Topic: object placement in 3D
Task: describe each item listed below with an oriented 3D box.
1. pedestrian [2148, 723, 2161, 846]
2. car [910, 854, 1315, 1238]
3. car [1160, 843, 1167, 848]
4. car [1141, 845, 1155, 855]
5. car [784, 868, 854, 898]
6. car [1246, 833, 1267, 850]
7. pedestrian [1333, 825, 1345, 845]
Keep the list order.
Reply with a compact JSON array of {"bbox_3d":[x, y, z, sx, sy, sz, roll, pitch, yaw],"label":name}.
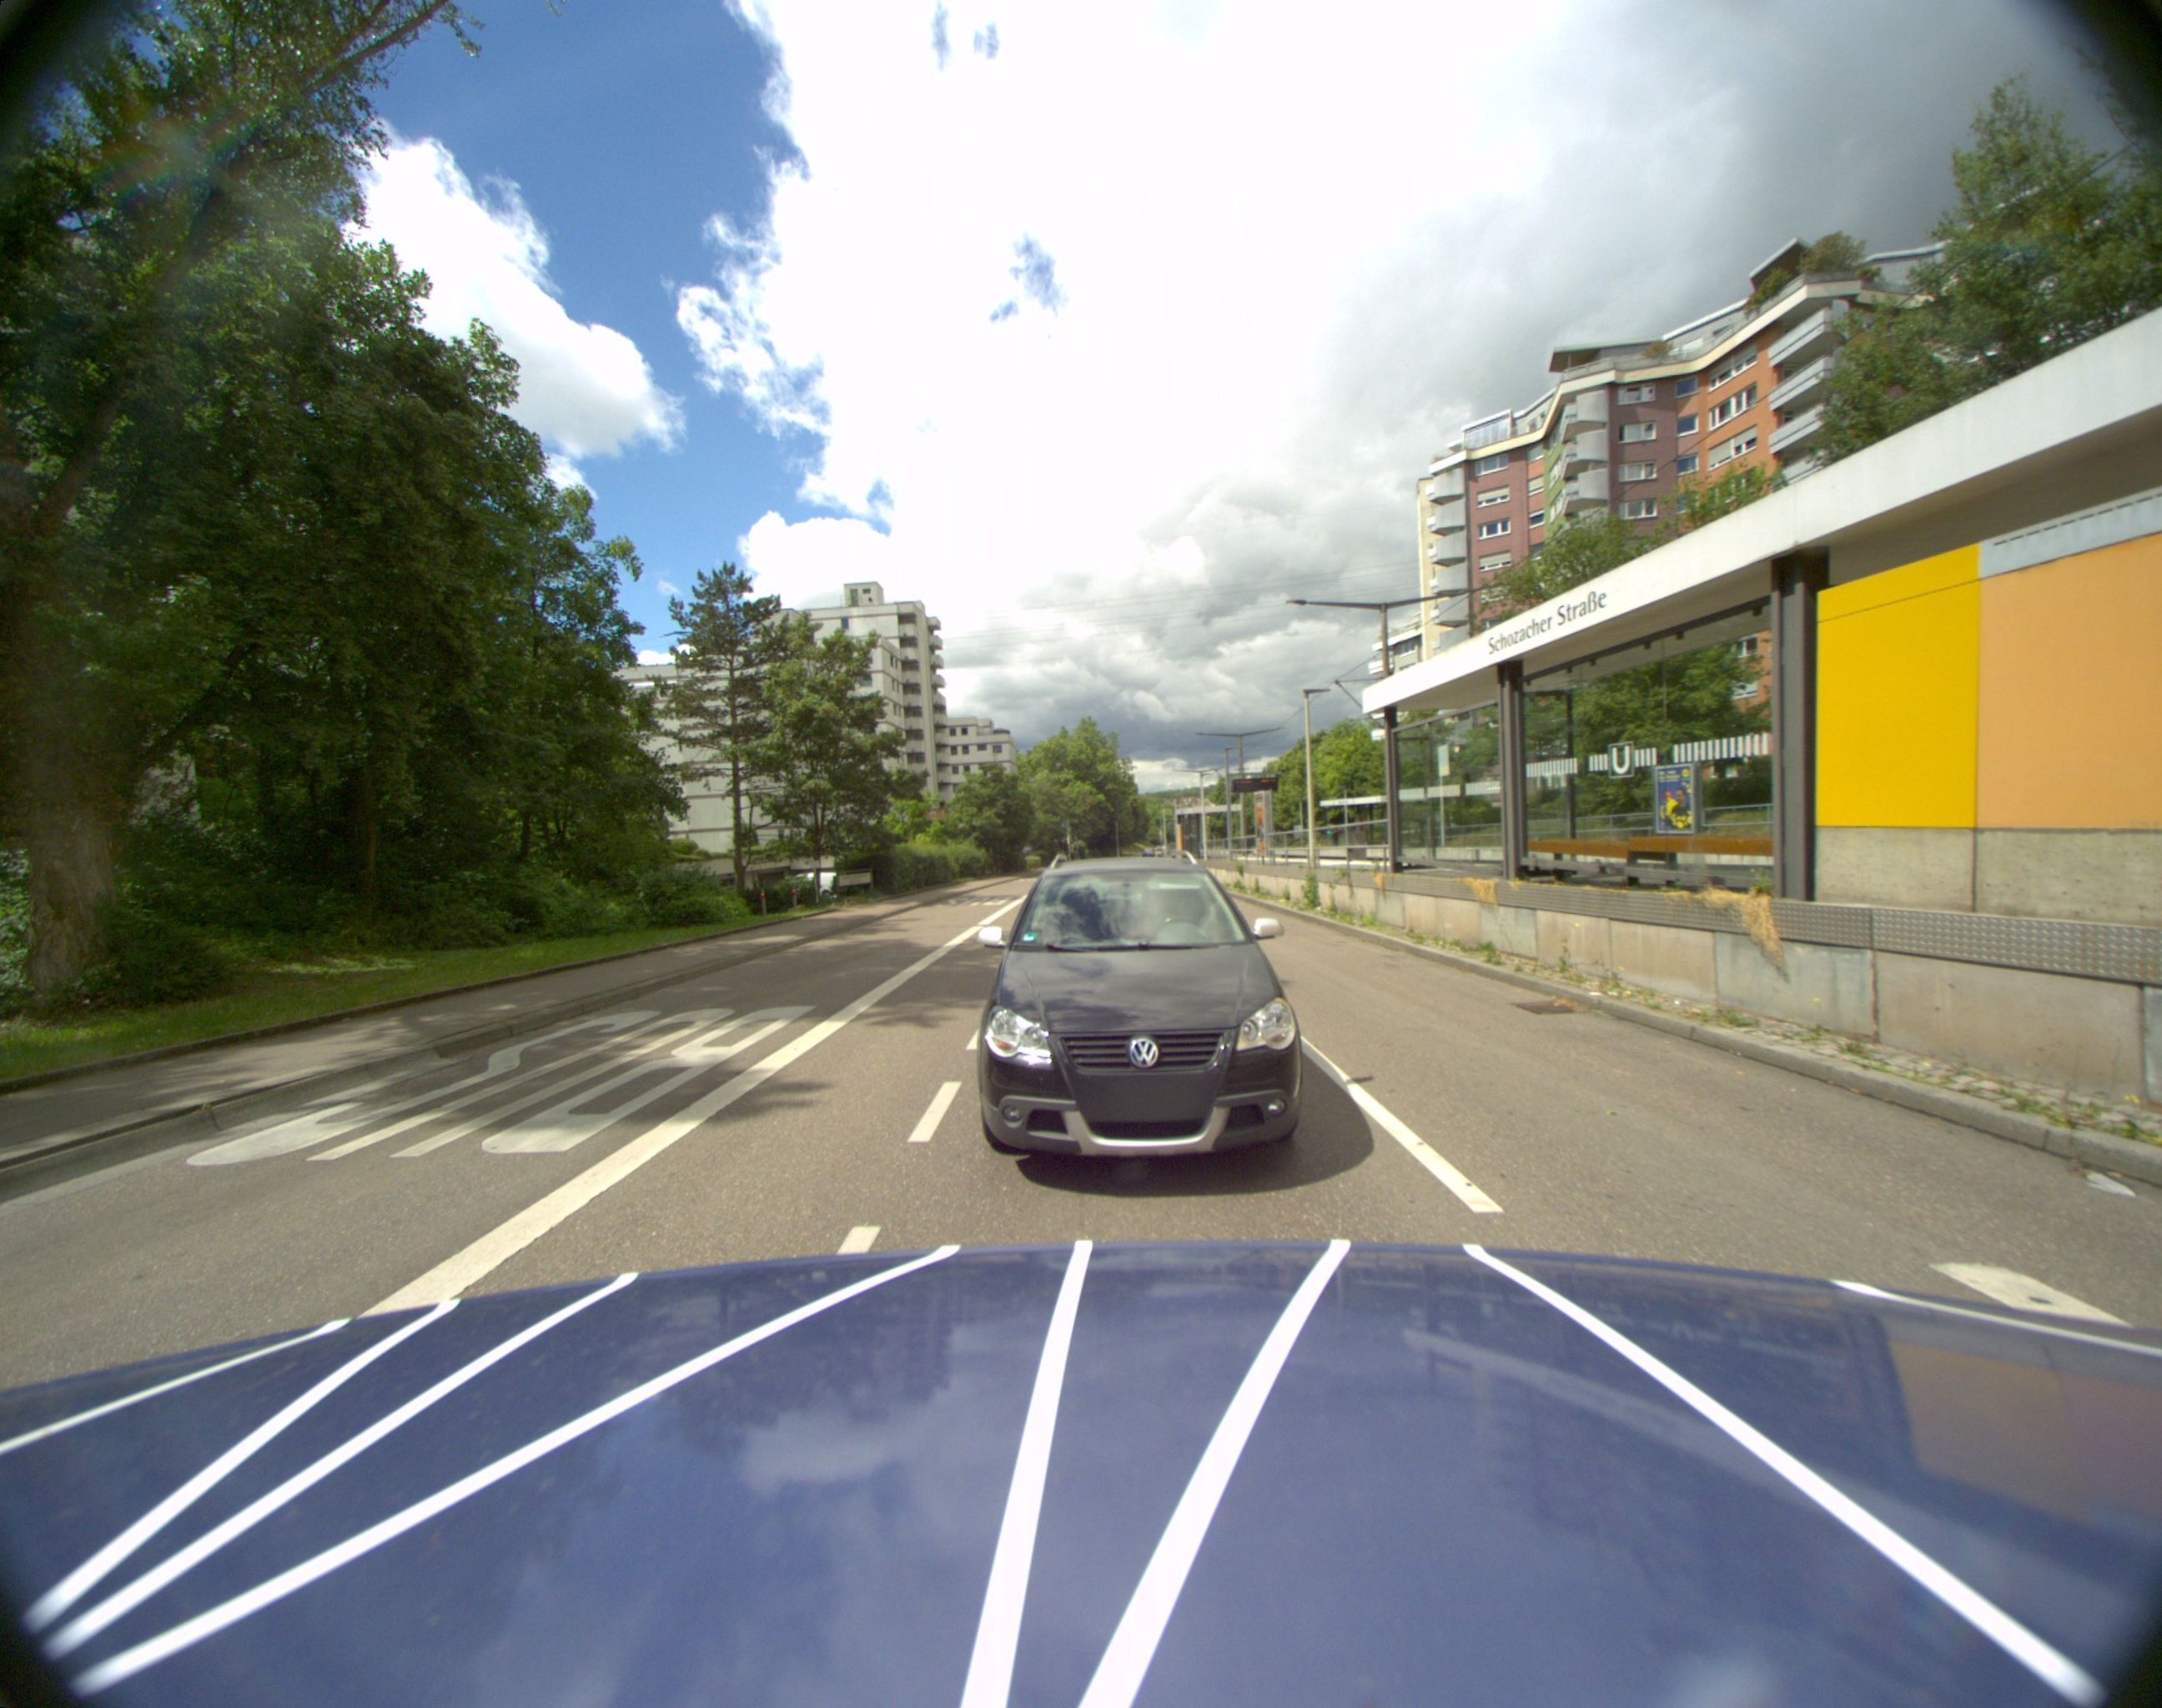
[{"bbox_3d":[15.281,-0.979,10.590,0.354,1.703,0.426,-3,2,-41],"label":"pedestrian"},{"bbox_3d":[0.221,0.823,5.195,1.641,1.521,4.000,-2,1,3],"label":"car"},{"bbox_3d":[21.943,-2.246,201.771,1.643,1.395,3.708,-2,1,4],"label":"car"},{"bbox_3d":[9.891,-0.575,112.740,1.821,1.377,4.065,-2,1,2],"label":"car"},{"bbox_3d":[-19.888,2.226,57.806,4.543,2.002,2.001,-2,1,7],"label":"car"},{"bbox_3d":[22.159,-1.605,96.149,1.737,2.002,4.000,-2,1,2],"label":"car"},{"bbox_3d":[16.665,-1.229,49.079,0.535,1.270,0.563,-1,1,34],"label":"pedestrian"}]
